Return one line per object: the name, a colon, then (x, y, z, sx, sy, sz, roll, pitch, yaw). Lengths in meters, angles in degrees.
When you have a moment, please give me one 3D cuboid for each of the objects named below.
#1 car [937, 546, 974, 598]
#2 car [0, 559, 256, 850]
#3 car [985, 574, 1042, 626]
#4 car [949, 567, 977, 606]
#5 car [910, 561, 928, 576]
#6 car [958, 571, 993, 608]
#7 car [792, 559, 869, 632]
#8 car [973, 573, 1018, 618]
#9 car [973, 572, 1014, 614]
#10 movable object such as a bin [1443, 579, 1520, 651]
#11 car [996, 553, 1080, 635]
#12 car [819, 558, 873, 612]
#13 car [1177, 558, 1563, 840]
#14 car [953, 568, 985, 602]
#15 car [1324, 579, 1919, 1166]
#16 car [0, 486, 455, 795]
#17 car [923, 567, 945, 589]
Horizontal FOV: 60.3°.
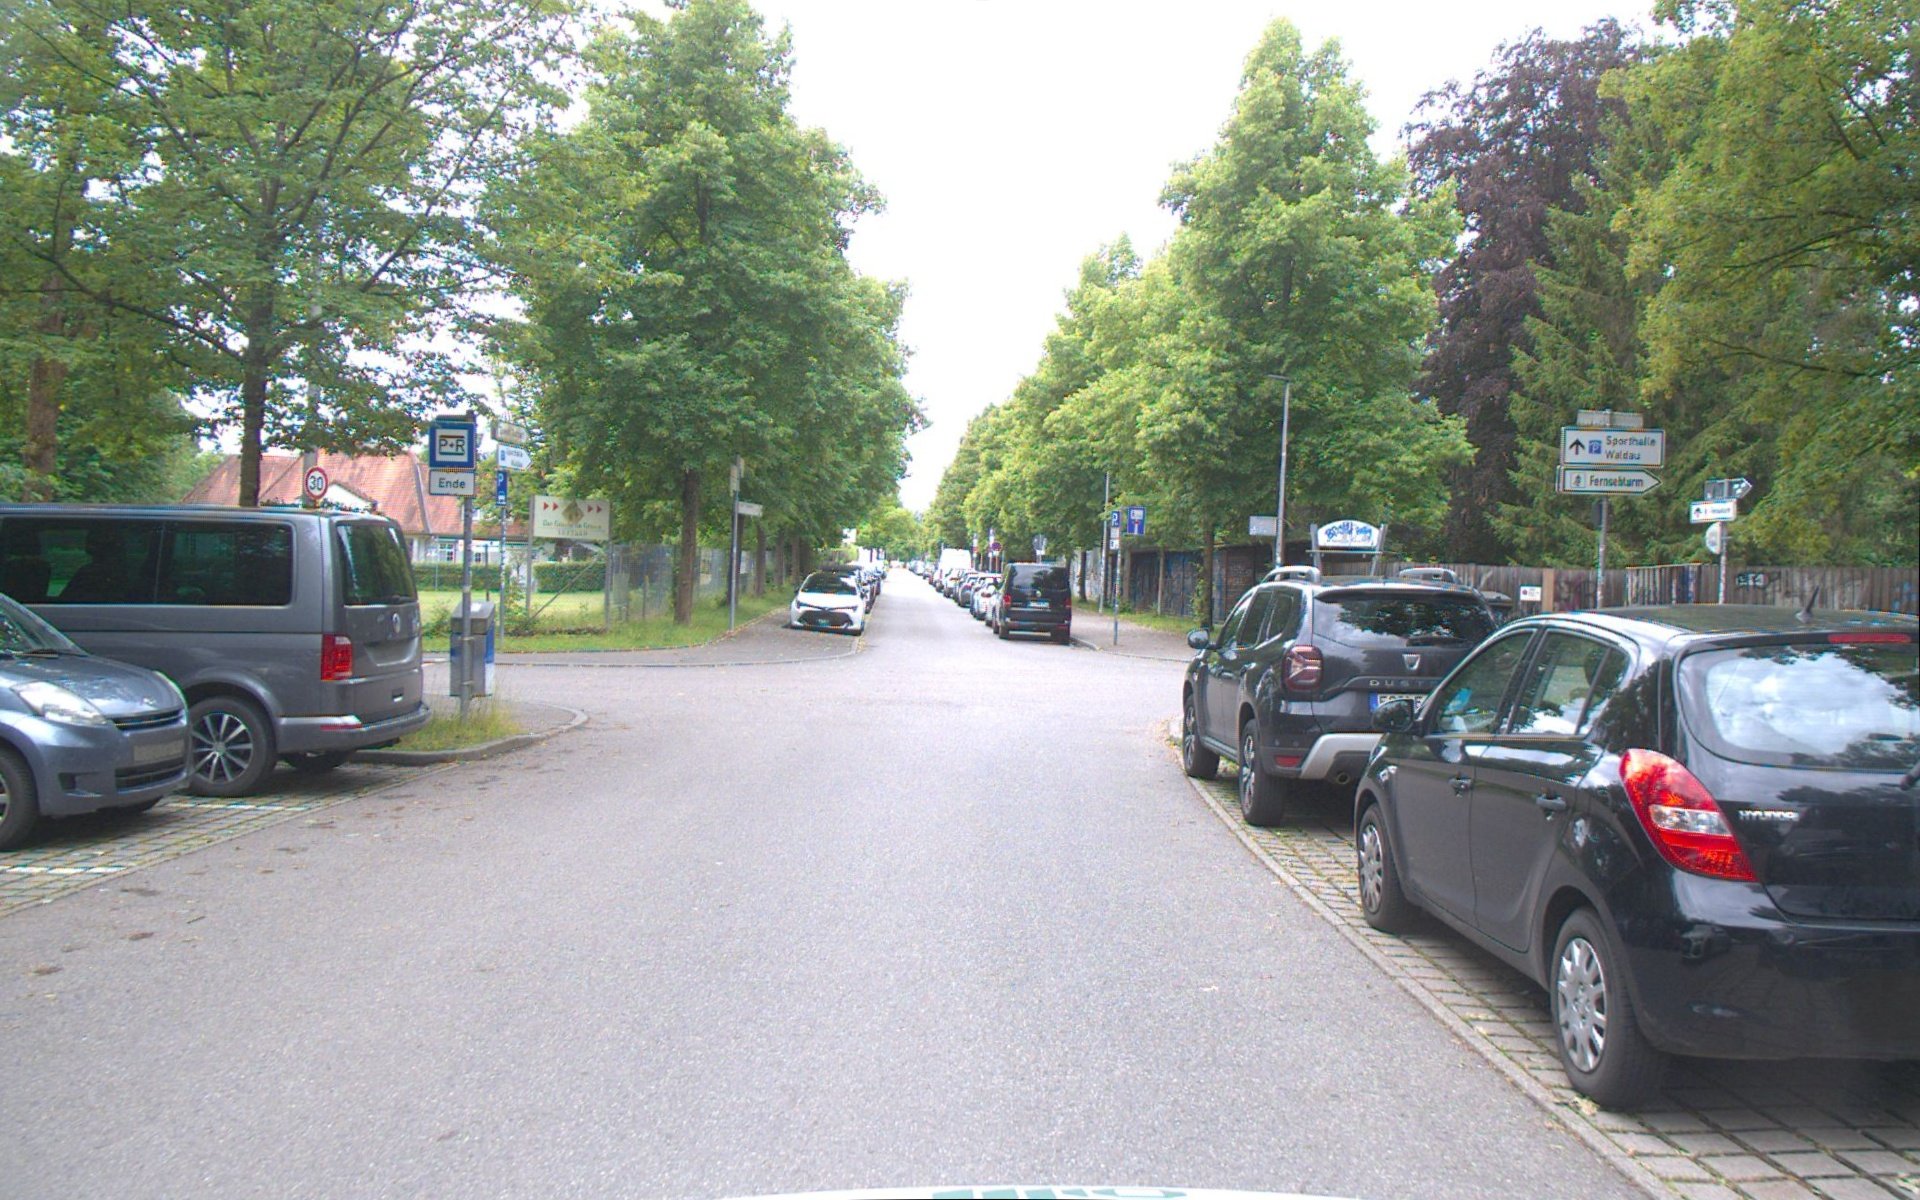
car: (-0.279, -1.712, 101.547, 2.140, 3.068, 4.896, 1, 1, -1)
car: (-6.388, 0.523, 9.686, 3.736, 1.539, 1.809, 1, 1, 0)
car: (1.618, -0.022, 50.640, 1.565, 1.507, 3.521, 1, 1, -1)
car: (0.148, -0.744, 87.992, 1.439, 2.002, 3.188, 1, 1, -1)
car: (-4.819, -3.702, 195.321, 1.859, 1.736, 4.064, 1, 0, 1)
car: (0.667, -0.462, 72.239, 1.439, 1.558, 3.188, 1, 1, -1)
car: (-3.234, -0.143, 41.357, 1.730, 1.623, 4.213, 4, 1, -5)
car: (1.237, -0.182, 58.180, 1.439, 1.507, 3.188, 1, 1, -1)
car: (1.254, -0.289, 63.316, 1.439, 1.558, 3.188, 1, 1, -1)
movable object such as a bin: (10.934, 0.309, 34.673, 1.061, 1.468, 1.277, 1, -1, 44)
car: (2.025, -0.180, 44.031, 1.948, 2.048, 4.108, 1, 1, -1)
car: (-3.808, -0.507, 55.419, 1.658, 1.623, 3.997, 4, 1, -4)
car: (2.755, 0.578, 12.142, 1.701, 1.662, 4.375, 1, 0, 0)
car: (0.395, -0.715, 77.960, 1.439, 1.558, 3.188, 1, 1, -1)
car: (2.761, 0.704, 6.437, 1.701, 1.521, 4.233, 1, 0, 0)
car: (-6.142, 0.256, 11.911, 4.413, 2.013, 1.890, 1, 0, -4)
car: (-2.555, -2.110, 161.623, 1.952, 2.049, 4.001, 1, 0, 1)
